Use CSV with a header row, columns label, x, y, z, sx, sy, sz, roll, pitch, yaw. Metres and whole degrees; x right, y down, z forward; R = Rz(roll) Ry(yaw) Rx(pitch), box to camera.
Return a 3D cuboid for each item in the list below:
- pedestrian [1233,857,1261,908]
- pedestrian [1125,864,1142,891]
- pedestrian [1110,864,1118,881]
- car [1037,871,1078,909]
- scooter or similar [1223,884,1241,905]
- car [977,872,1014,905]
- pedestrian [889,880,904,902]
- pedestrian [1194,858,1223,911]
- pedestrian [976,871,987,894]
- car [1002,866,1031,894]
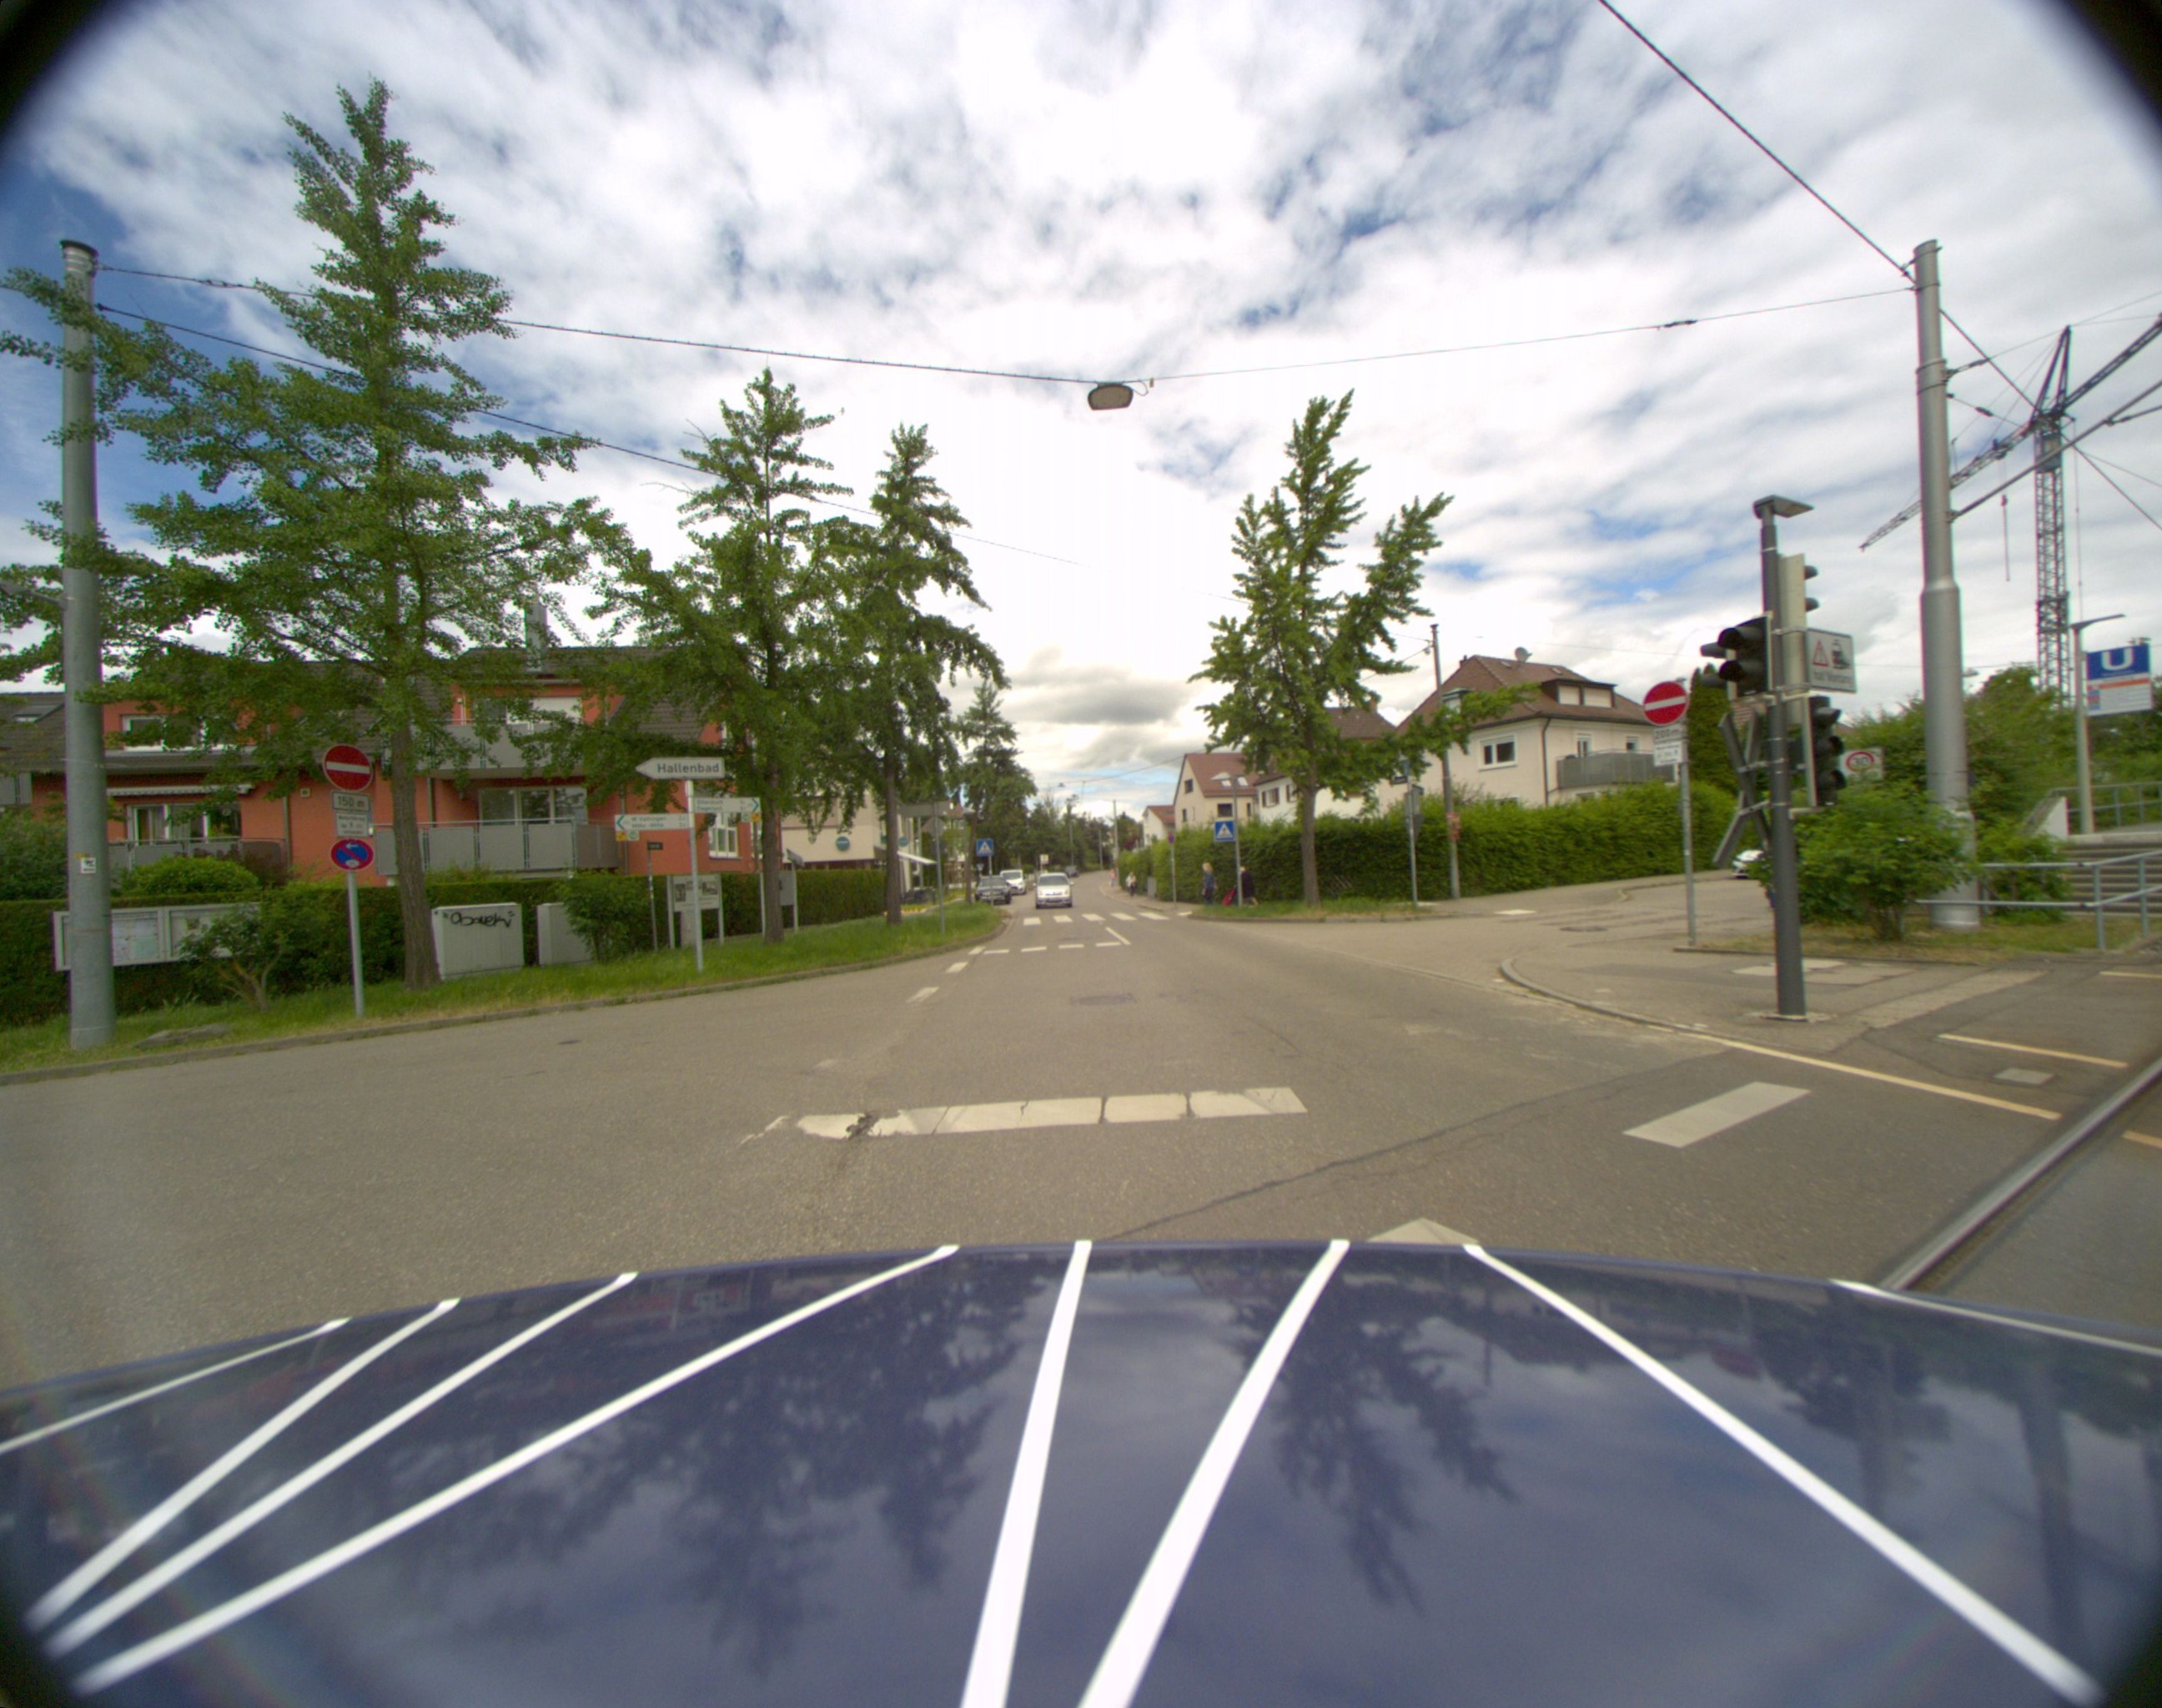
label,x,y,z,sx,sy,sz,roll,pitch,yaw
pedestrian,5.466,0.933,24.986,0.597,1.610,0.679,-5,0,28
pedestrian,3.010,1.358,43.882,0.749,1.521,0.544,-4,0,-15
pedestrian,3.045,1.727,70.545,0.619,1.589,0.608,-3,0,-4
car,-1.114,1.624,35.541,1.726,1.558,3.927,-3,-1,-2
scooter or similar,4.996,1.333,25.124,0.399,0.606,0.489,-6,0,28
car,-4.727,1.871,42.635,1.852,1.626,4.464,-4,-1,-5
pedestrian,-10.978,2.205,45.245,0.753,1.231,0.691,-2,0,-8
pedestrian,4.073,0.960,24.210,0.597,1.610,0.679,-5,0,28
pedestrian,-7.306,2.098,55.610,0.678,1.659,0.660,-2,0,-2
car,-5.054,2.028,60.137,1.999,2.001,5.566,-4,-1,-3
